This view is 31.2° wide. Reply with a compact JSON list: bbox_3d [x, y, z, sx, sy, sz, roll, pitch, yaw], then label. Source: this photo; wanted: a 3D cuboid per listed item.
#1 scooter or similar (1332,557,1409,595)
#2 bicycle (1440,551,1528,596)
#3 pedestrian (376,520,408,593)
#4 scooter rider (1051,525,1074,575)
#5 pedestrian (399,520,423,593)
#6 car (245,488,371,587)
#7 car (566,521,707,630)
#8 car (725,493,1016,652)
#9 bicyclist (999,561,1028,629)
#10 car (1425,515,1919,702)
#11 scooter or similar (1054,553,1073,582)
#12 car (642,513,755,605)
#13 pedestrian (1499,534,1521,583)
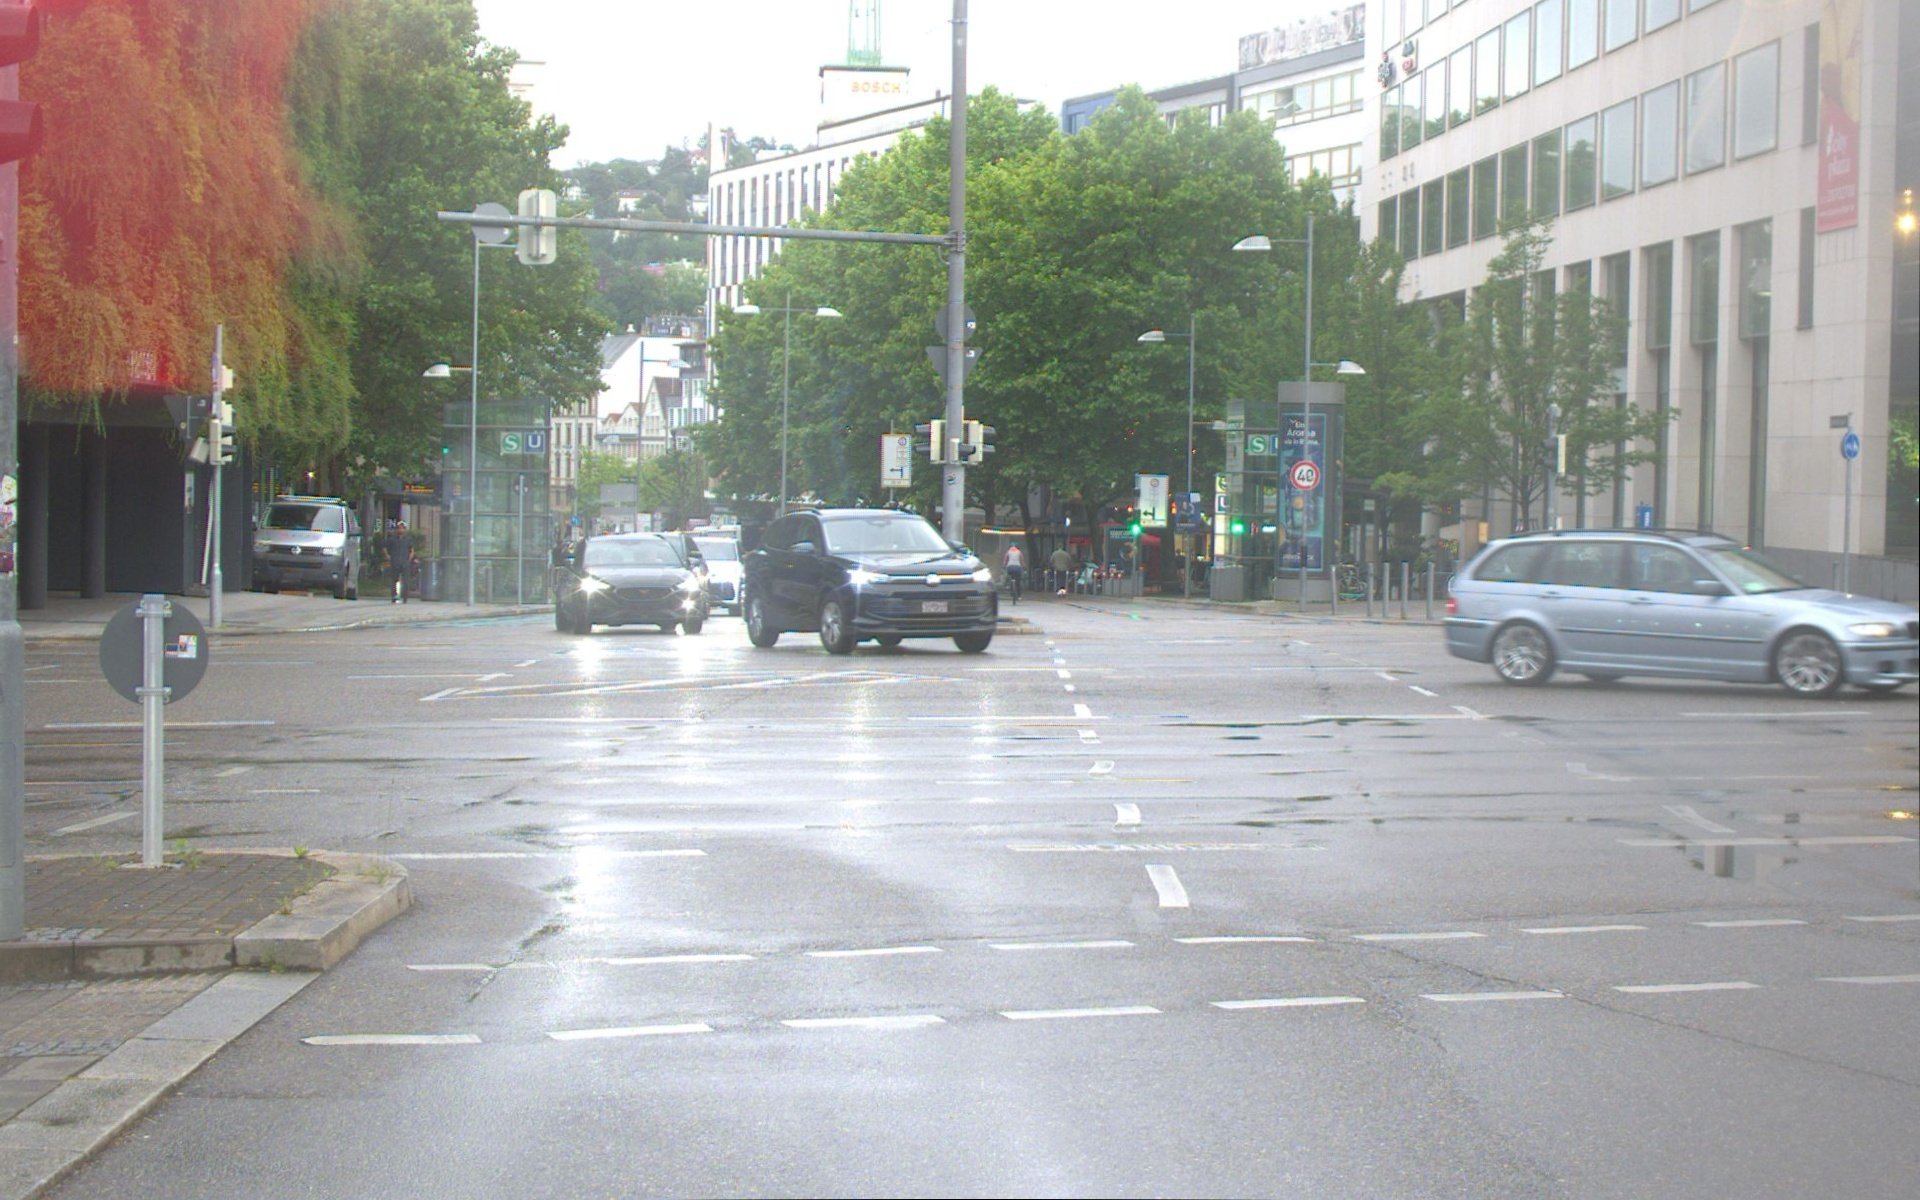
[{"bbox_3d":[9.564,-0.572,80.050,1.745,0.875,0.489,0,1,-19],"label":"scooter or similar"},{"bbox_3d":[11.082,-0.554,72.751,1.794,0.931,0.475,0,1,3],"label":"bicycle"},{"bbox_3d":[-11.842,-0.910,71.642,0.607,1.519,0.588,0,1,-5],"label":"pedestrian"},{"bbox_3d":[3.595,-1.753,120.693,0.762,1.768,0.796,0,1,-1],"label":"scooter rider"},{"bbox_3d":[-11.446,-0.909,71.670,0.436,1.519,0.548,0,1,-5],"label":"pedestrian"},{"bbox_3d":[-12.914,-1.251,68.302,1.993,1.888,4.466,0,1,-5],"label":"car"},{"bbox_3d":[-4.610,-0.389,49.506,1.856,1.443,4.622,0,2,-3],"label":"car"},{"bbox_3d":[-1.088,-0.370,39.121,1.963,1.649,4.366,-1,3,-21],"label":"car"},{"bbox_3d":[1.593,-0.151,101.783,0.791,1.968,1.114,1,1,-1],"label":"bicyclist"},{"bbox_3d":[6.580,0.016,30.578,4.460,1.481,1.995,2,3,40],"label":"car"},{"bbox_3d":[3.625,-1.131,120.756,0.556,1.003,1.824,0,1,-2],"label":"scooter or similar"},{"bbox_3d":[-5.443,-0.870,71.111,2.174,1.817,4.645,0,1,-6],"label":"car"},{"bbox_3d":[13.119,-0.982,82.012,0.353,1.169,0.415,0,1,-27],"label":"pedestrian"}]
